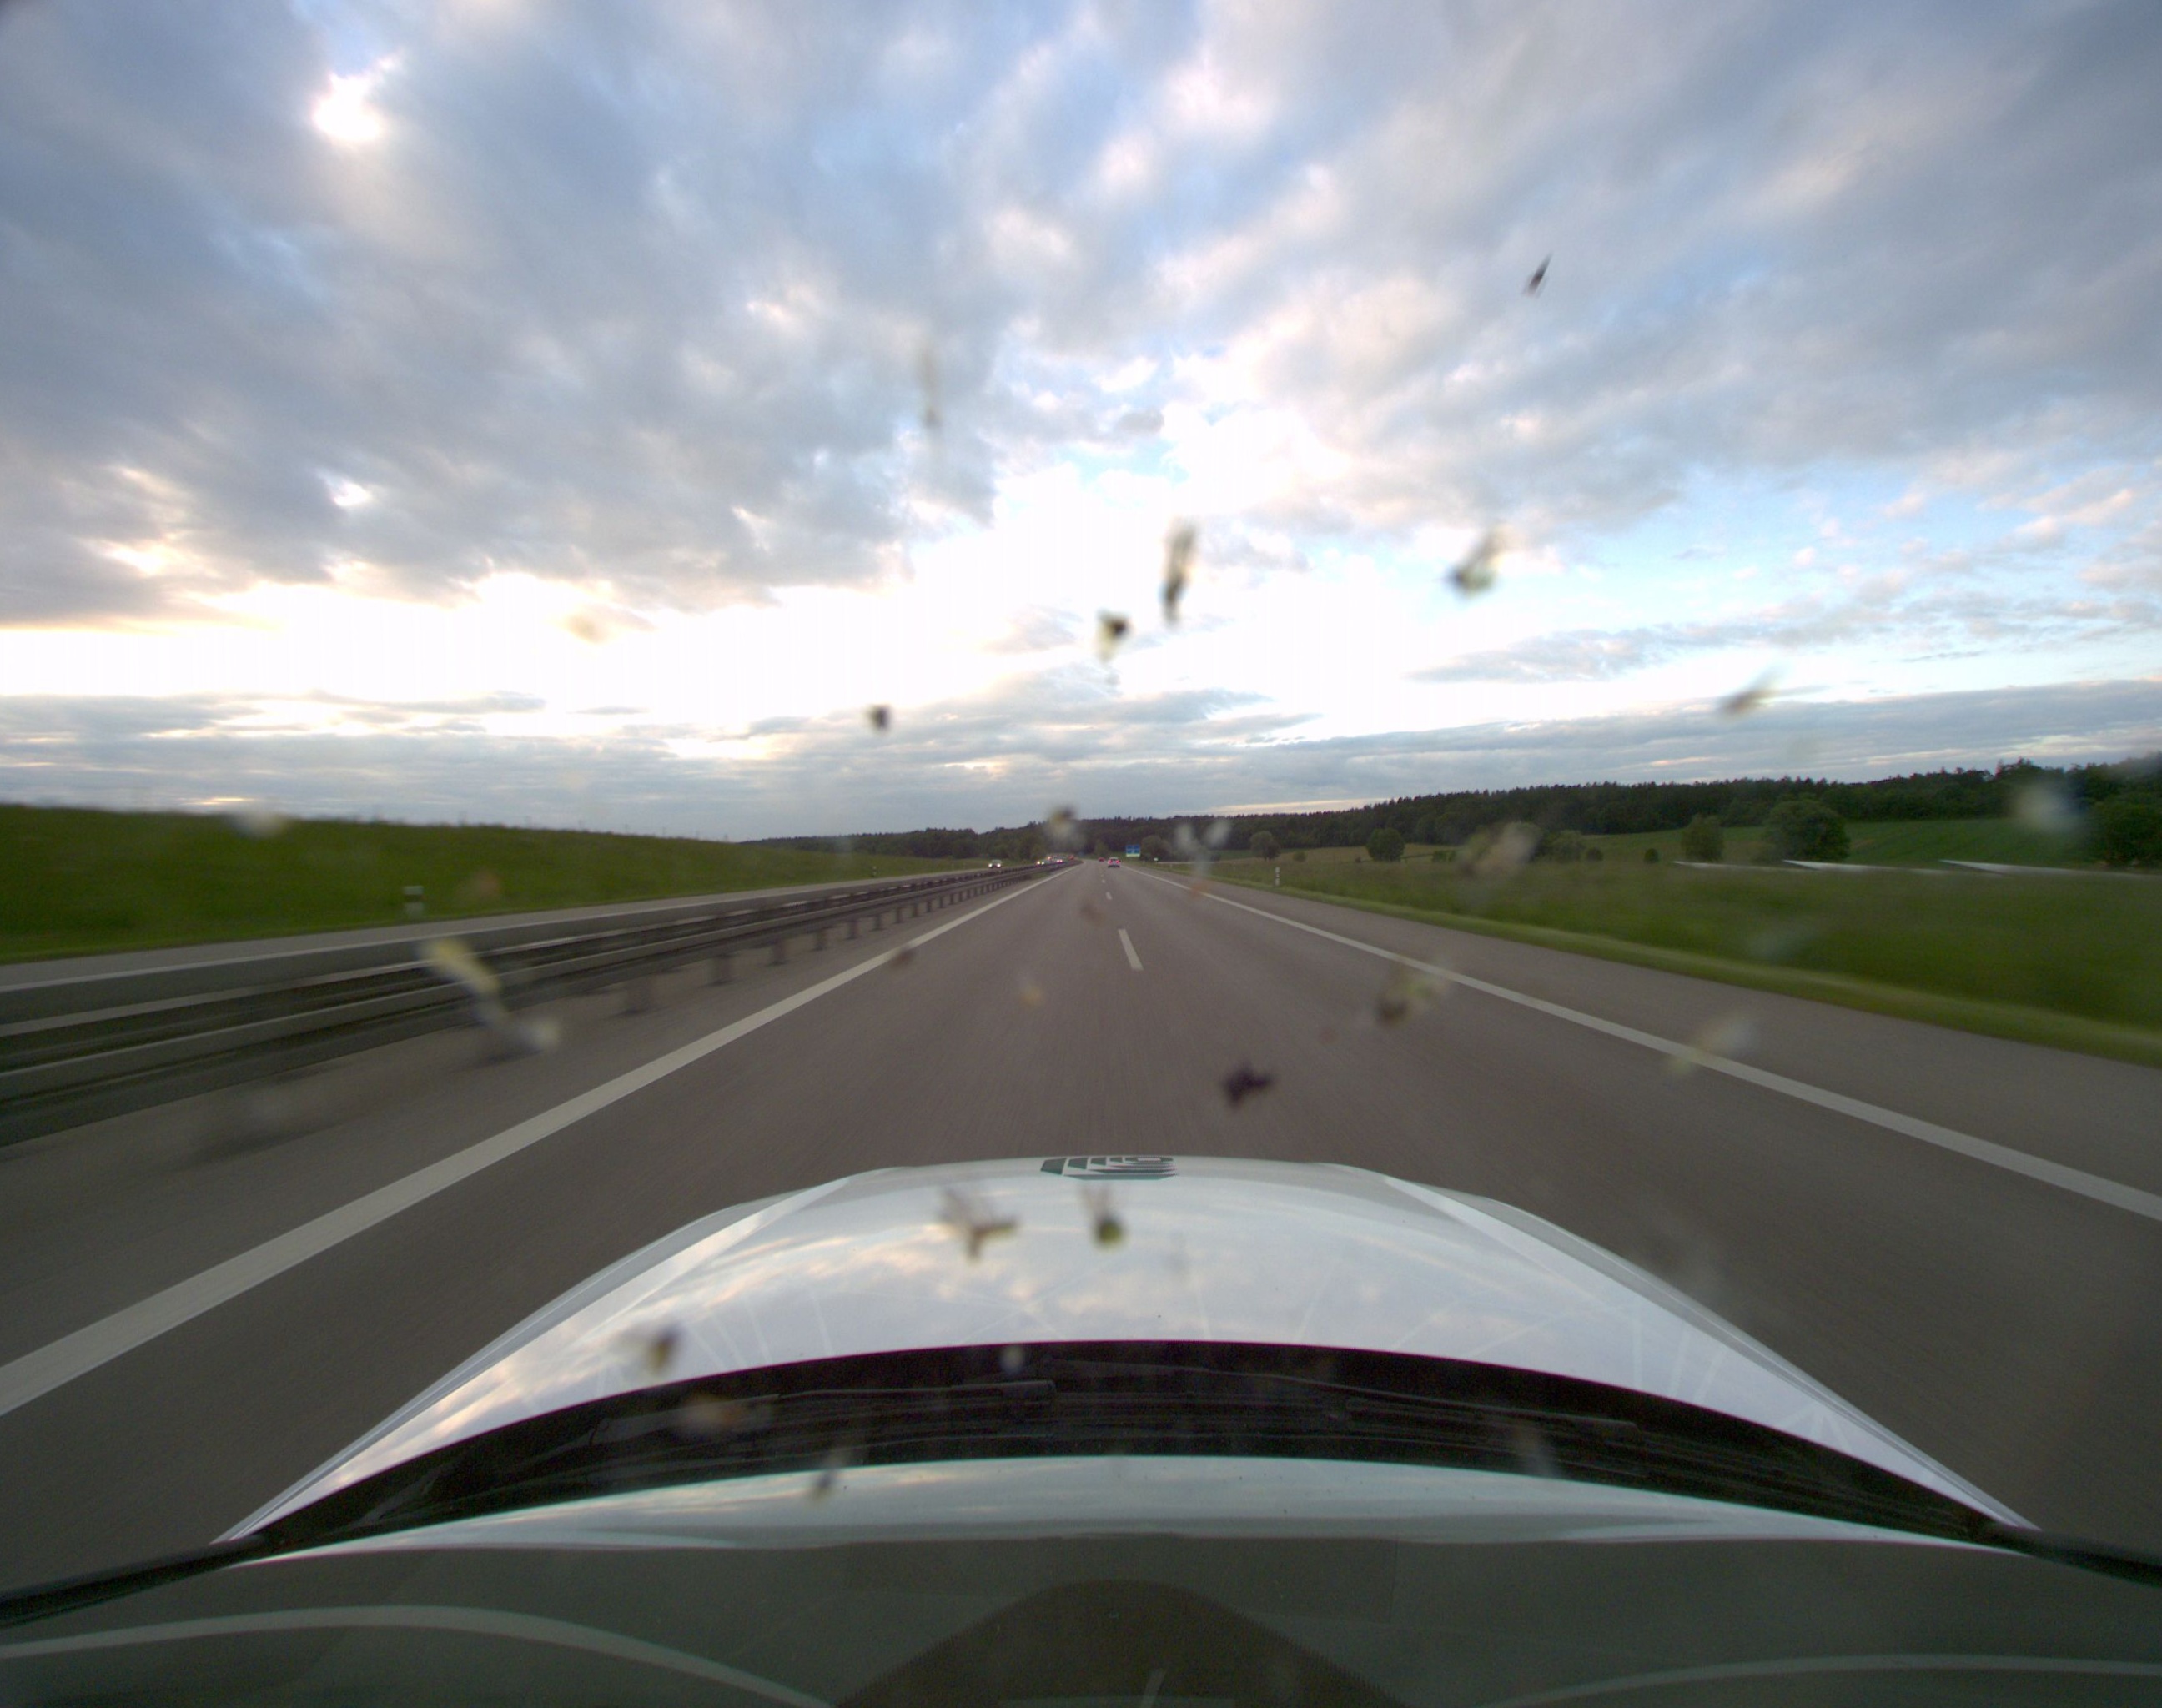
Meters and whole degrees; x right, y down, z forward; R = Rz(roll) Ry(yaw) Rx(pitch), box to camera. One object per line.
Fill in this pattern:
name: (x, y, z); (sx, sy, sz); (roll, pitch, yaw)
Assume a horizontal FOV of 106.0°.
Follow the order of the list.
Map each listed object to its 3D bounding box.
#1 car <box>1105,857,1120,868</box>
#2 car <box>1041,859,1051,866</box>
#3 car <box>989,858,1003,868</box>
car: (4.707, 1.217, 121.284); (1.946, 1.531, 4.078); (0, 0, -1)
car: (-7.460, 1.733, 174.061); (1.732, 1.456, 5.123); (0, 0, 2)
car: (-12.503, 1.319, 119.474); (1.522, 1.433, 4.435); (0, 0, 1)
